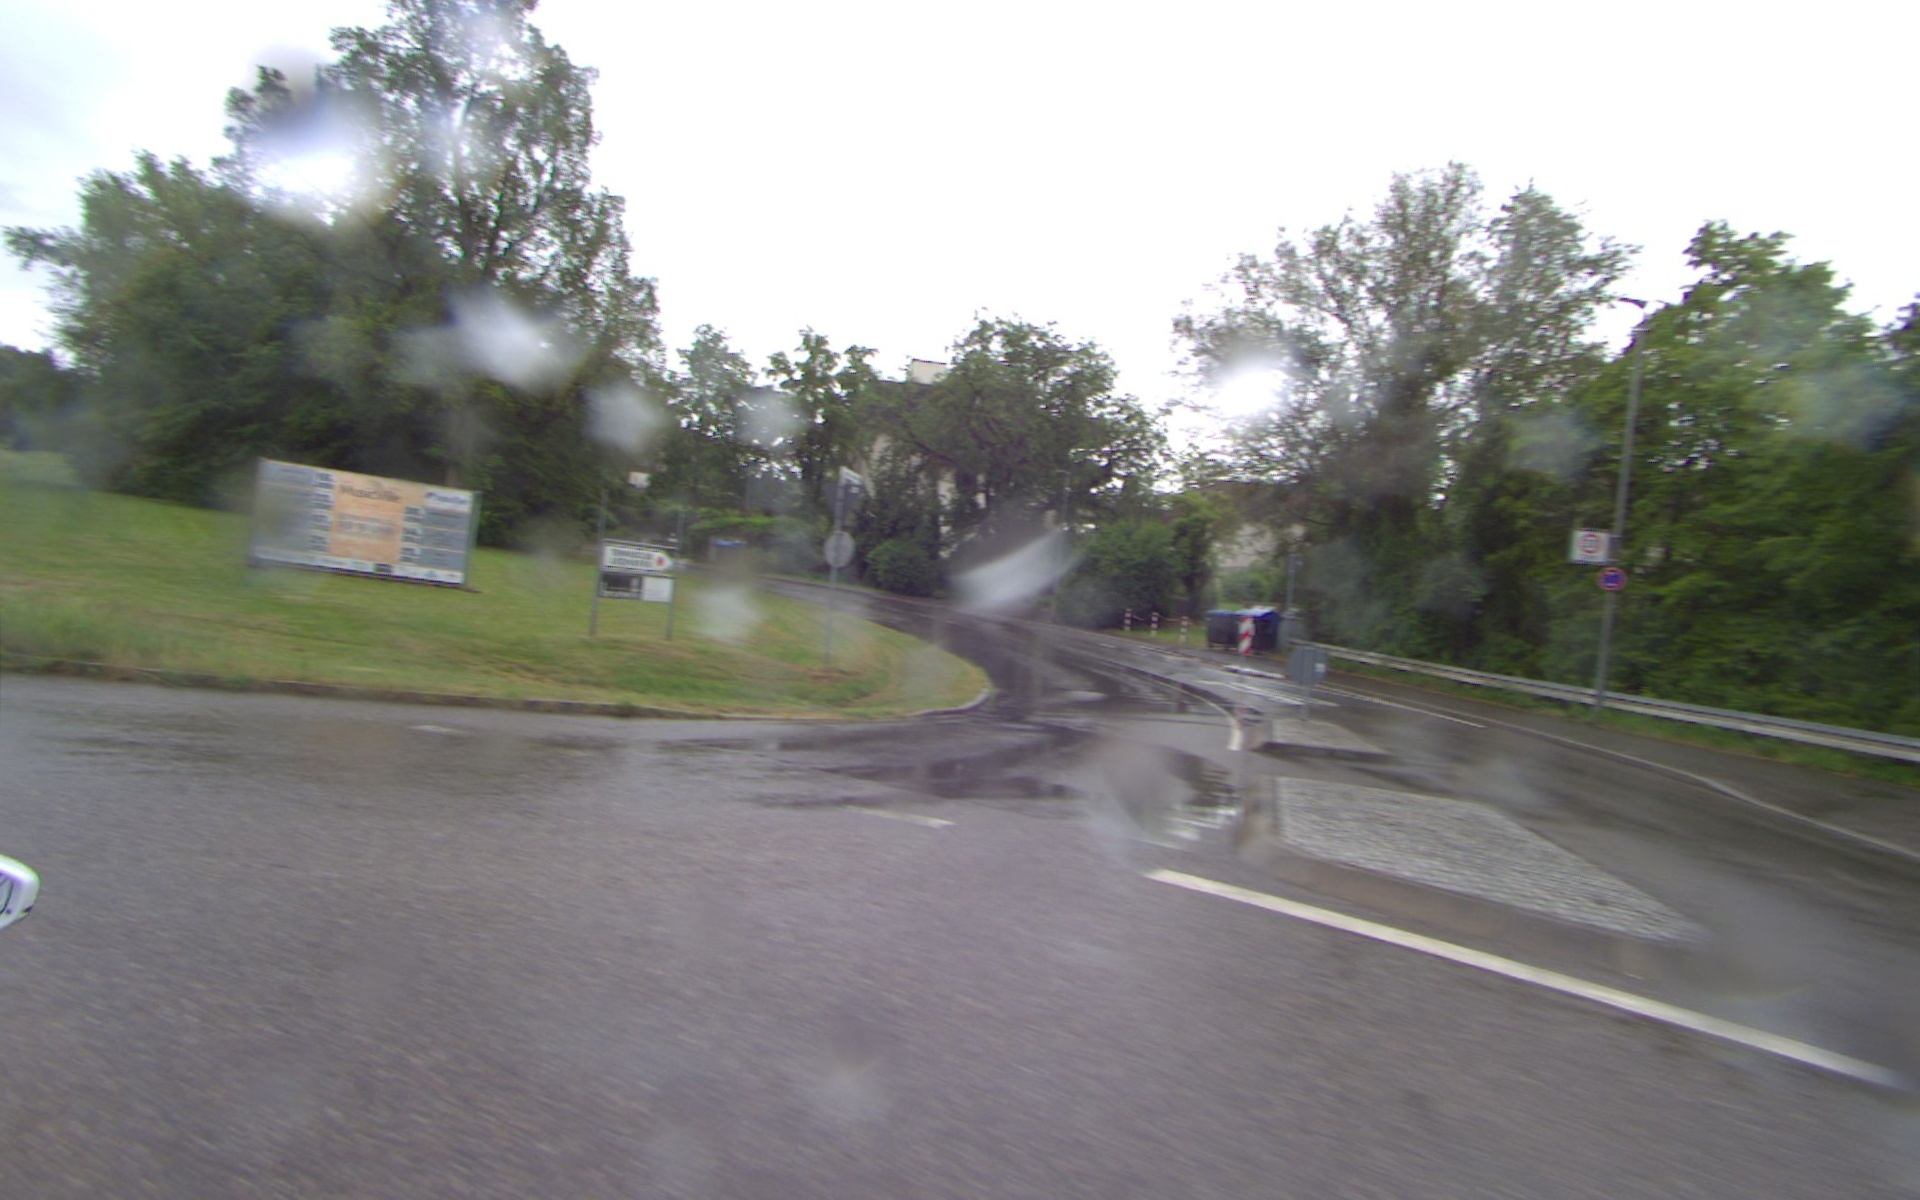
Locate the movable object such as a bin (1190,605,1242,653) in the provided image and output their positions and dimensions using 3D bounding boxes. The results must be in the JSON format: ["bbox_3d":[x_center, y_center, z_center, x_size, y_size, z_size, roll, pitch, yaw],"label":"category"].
[{"bbox_3d":[8.715,0.984,34.326,1.180,1.456,1.070,6,2,-19],"label":"movable object such as a bin"}]

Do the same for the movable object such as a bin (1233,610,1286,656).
[{"bbox_3d":[9.823,1.081,33.047,1.179,1.360,1.070,3,3,-19],"label":"movable object such as a bin"}]

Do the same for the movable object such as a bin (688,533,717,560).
[{"bbox_3d":[-15.472,-3.203,60.456,1.186,1.456,1.415,5,2,-34],"label":"movable object such as a bin"}]
